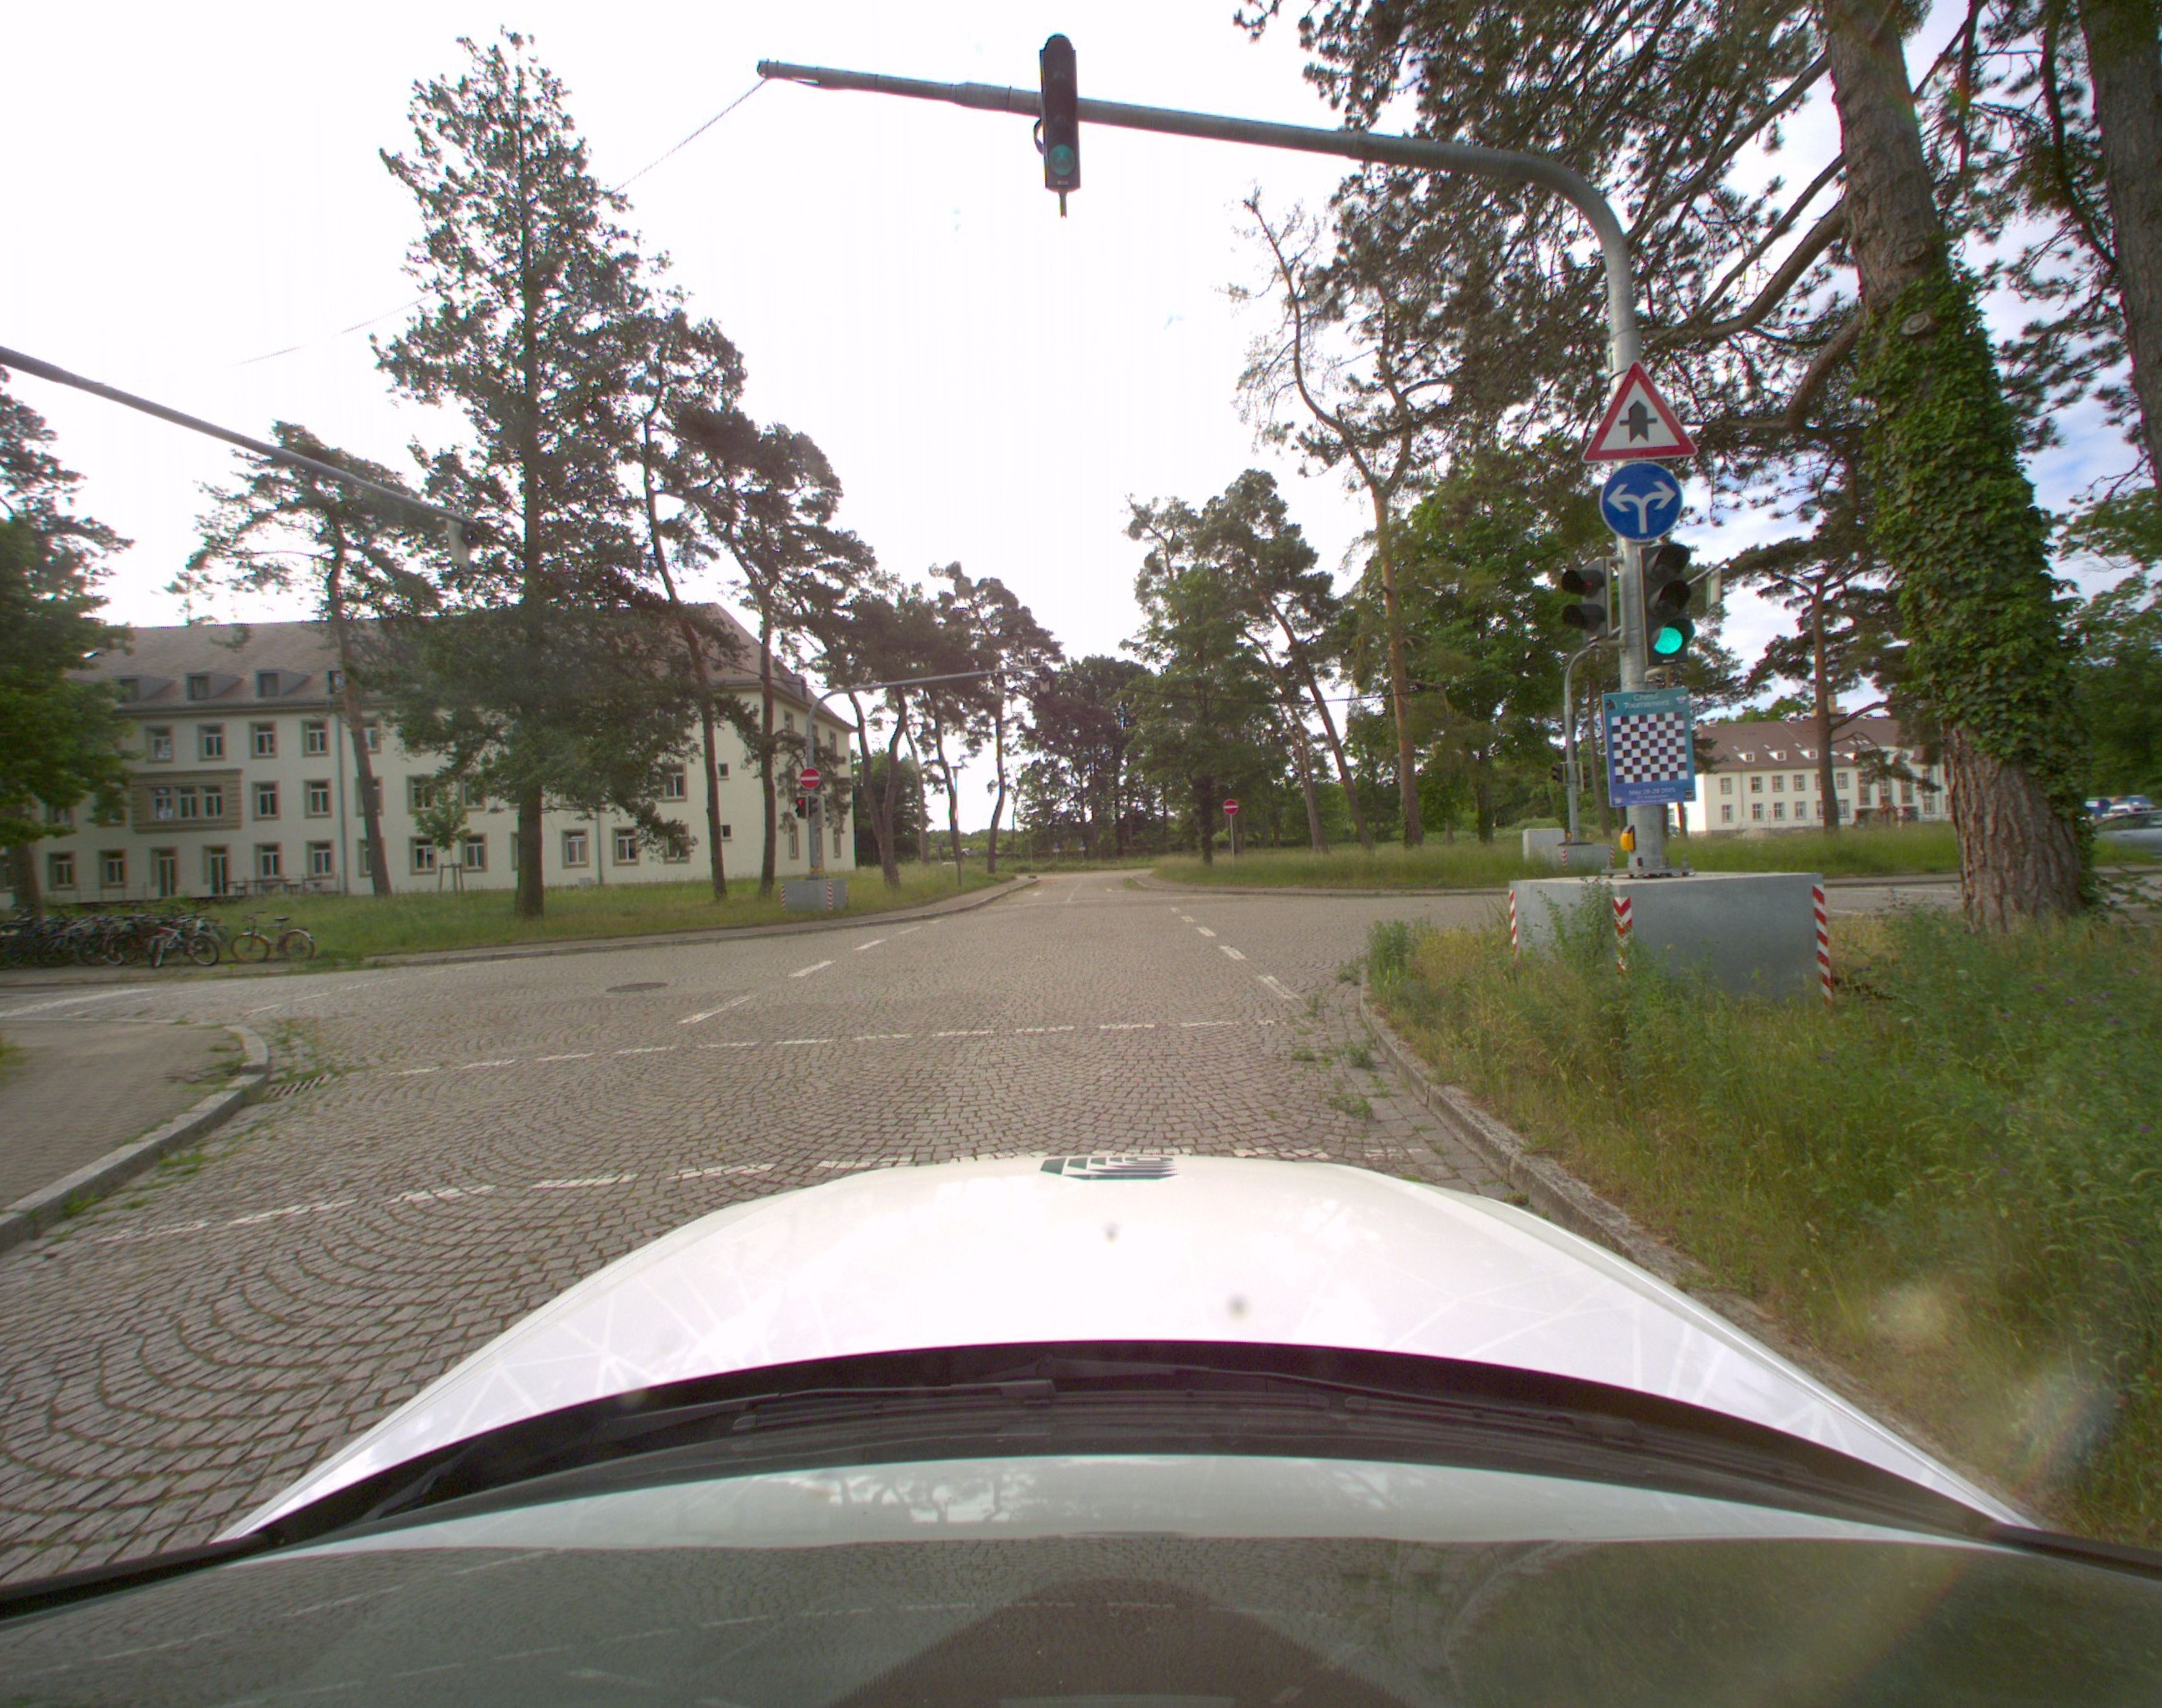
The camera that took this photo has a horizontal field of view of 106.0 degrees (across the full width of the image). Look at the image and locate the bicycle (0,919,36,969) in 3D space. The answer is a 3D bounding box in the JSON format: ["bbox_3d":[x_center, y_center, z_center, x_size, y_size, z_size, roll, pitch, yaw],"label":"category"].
[{"bbox_3d":[-24.616,2.063,18.150,0.512,1.079,1.586,-3,0,2],"label":"bicycle"}]

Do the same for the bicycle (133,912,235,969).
[{"bbox_3d":[-19.991,1.898,18.194,0.513,1.079,1.584,-3,0,-1],"label":"bicycle"}]

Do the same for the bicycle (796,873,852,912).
[{"bbox_3d":[-7.742,1.152,24.598,1.460,1.065,0.516,-3,1,-1],"label":"bicycle"}]

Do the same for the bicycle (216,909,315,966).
[{"bbox_3d":[-16.968,1.733,16.958,1.460,1.065,0.516,-3,0,-1],"label":"bicycle"}]

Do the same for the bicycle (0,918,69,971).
[{"bbox_3d":[-23.821,2.032,18.145,0.512,1.079,1.586,-3,0,2],"label":"bicycle"}]

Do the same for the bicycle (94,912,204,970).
[{"bbox_3d":[-20.670,1.910,18.110,0.512,1.079,1.587,-3,0,4],"label":"bicycle"}]

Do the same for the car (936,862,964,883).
[{"bbox_3d":[-11.973,1.642,74.734,1.988,1.846,3.998,-1,0,-1],"label":"car"}]

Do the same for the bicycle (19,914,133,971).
[{"bbox_3d":[-22.363,1.951,18.171,0.512,1.079,1.586,-3,0,2],"label":"bicycle"}]

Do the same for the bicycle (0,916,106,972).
[{"bbox_3d":[-22.985,1.984,18.154,0.512,1.079,1.586,-3,0,2],"label":"bicycle"}]

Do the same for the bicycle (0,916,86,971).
[{"bbox_3d":[-23.437,1.995,18.150,0.512,1.079,1.586,-3,0,2],"label":"bicycle"}]

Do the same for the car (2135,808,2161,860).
[{"bbox_3d":[31.134,-0.593,21.293,1.727,1.468,4.246,-2,0,3],"label":"car"}]

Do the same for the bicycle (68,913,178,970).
[{"bbox_3d":[-21.372,1.923,18.207,0.512,1.079,1.586,-3,0,2],"label":"bicycle"}]

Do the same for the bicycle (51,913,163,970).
[{"bbox_3d":[-21.733,1.929,18.214,0.512,1.079,1.586,-3,0,2],"label":"bicycle"}]

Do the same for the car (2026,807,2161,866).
[{"bbox_3d":[28.523,-0.494,21.743,1.727,1.509,4.246,-2,0,3],"label":"car"}]

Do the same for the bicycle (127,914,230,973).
[{"bbox_3d":[-18.604,1.836,16.801,1.460,1.079,0.516,-3,0,-1],"label":"bicycle"}]
